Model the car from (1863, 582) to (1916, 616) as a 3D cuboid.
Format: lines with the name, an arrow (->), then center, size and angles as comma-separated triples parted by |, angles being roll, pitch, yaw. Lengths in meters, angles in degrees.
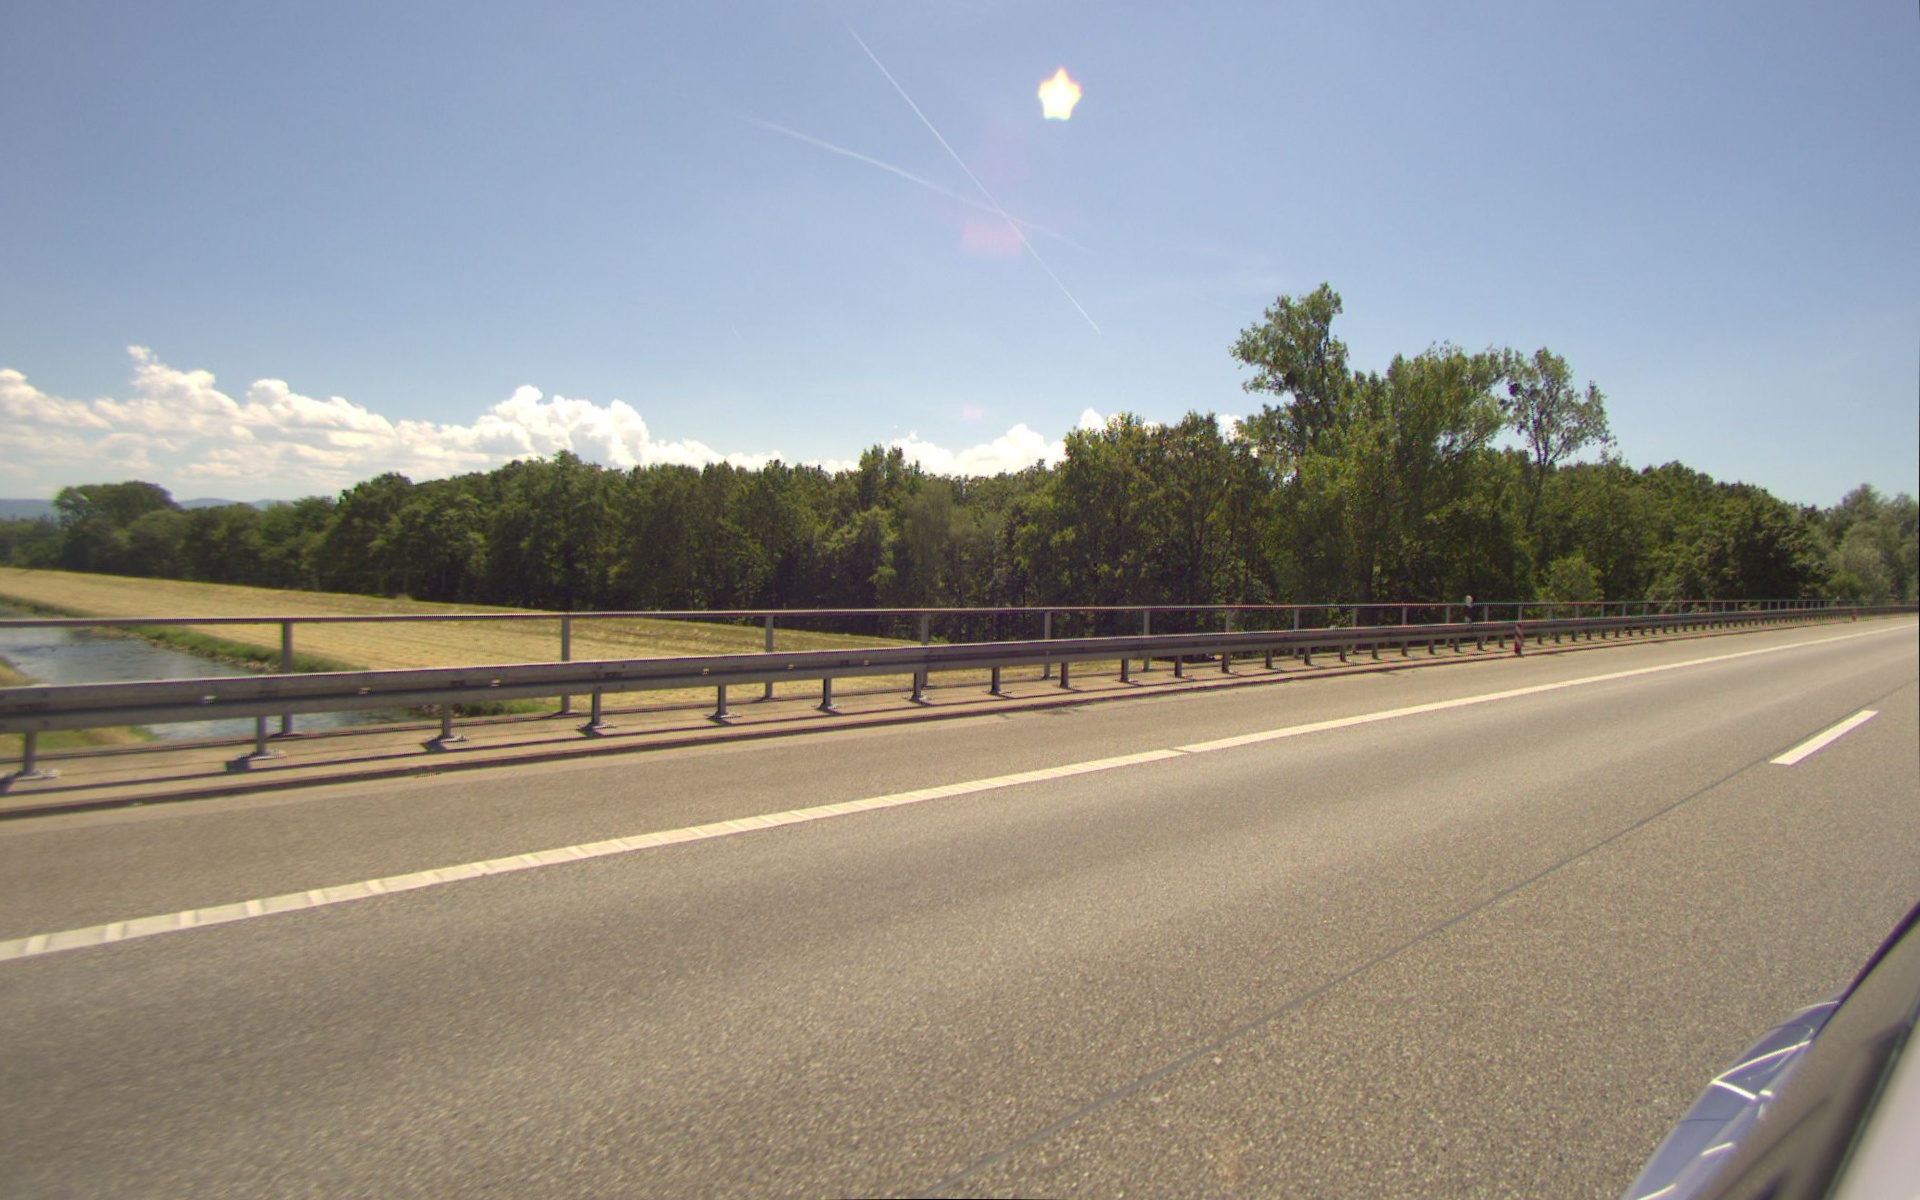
car -> 52.494, -0.063, 57.141 | 3.932, 1.839, 1.933 | 0, 0, -43
